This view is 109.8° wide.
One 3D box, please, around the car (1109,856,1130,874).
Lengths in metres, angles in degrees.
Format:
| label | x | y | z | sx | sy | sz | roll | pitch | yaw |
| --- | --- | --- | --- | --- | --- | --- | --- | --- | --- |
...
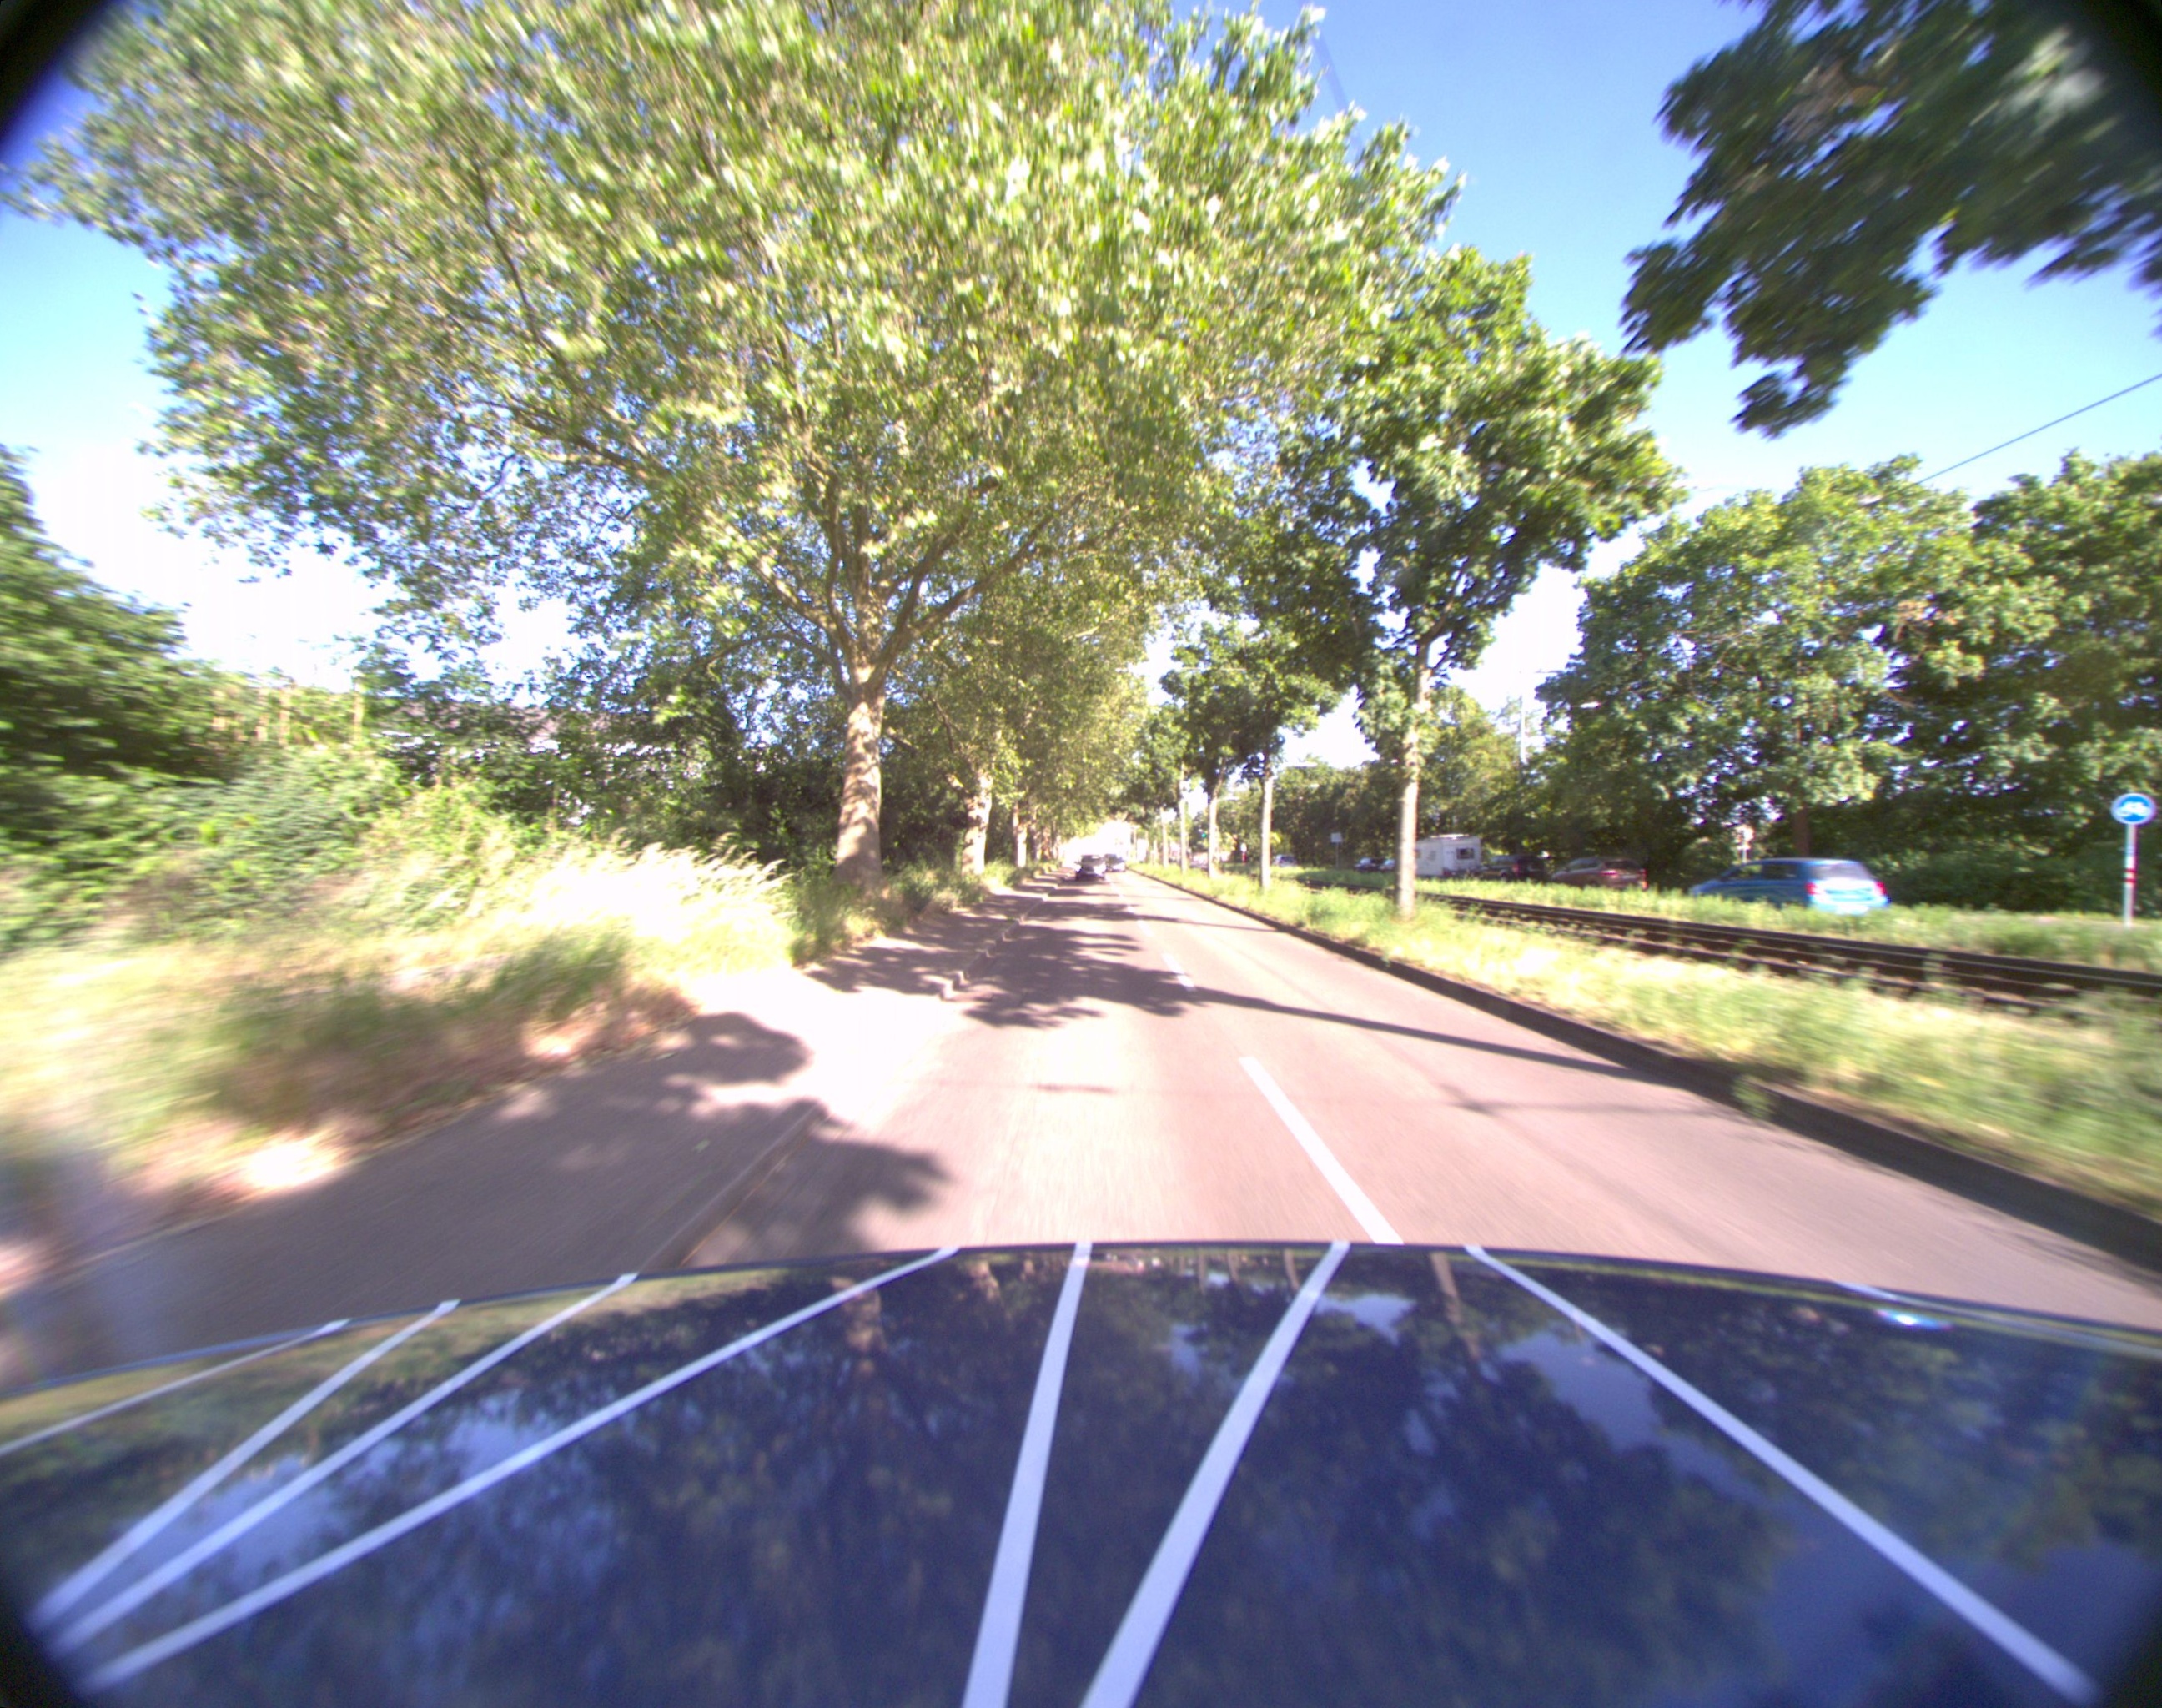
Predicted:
| label | x | y | z | sx | sy | sz | roll | pitch | yaw |
| --- | --- | --- | --- | --- | --- | --- | --- | --- | --- |
| car | 3.302 | 0.918 | 65.988 | 1.714 | 1.478 | 3.547 | -1 | 1 | 2 |

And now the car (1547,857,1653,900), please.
| label | x | y | z | sx | sy | sz | roll | pitch | yaw |
| --- | --- | --- | --- | --- | --- | --- | --- | --- | --- |
| car | 21.644 | 0.985 | 31.881 | 1.678 | 1.575 | 4.248 | -1 | 1 | 3 |

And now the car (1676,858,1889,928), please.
| label | x | y | z | sx | sy | sz | roll | pitch | yaw |
| --- | --- | --- | --- | --- | --- | --- | --- | --- | --- |
| car | 16.421 | 0.838 | 18.075 | 1.561 | 1.387 | 3.820 | -1 | 1 | 1 |

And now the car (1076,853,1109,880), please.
| label | x | y | z | sx | sy | sz | roll | pitch | yaw |
| --- | --- | --- | --- | --- | --- | --- | --- | --- | --- |
| car | 0.657 | 0.710 | 44.589 | 1.808 | 1.478 | 3.546 | -1 | 1 | 0 |

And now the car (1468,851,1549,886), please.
| label | x | y | z | sx | sy | sz | roll | pitch | yaw |
| --- | --- | --- | --- | --- | --- | --- | --- | --- | --- |
| car | 21.785 | 0.708 | 38.952 | 1.626 | 1.613 | 4.532 | -1 | 1 | 1 |

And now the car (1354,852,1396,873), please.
| label | x | y | z | sx | sy | sz | roll | pitch | yaw |
| --- | --- | --- | --- | --- | --- | --- | --- | --- | --- |
| car | 22.513 | 0.622 | 58.301 | 1.771 | 1.554 | 4.282 | -1 | 1 | 3 |

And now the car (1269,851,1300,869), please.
| label | x | y | z | sx | sy | sz | roll | pitch | yaw |
| --- | --- | --- | --- | --- | --- | --- | --- | --- | --- |
| car | 18.697 | 0.560 | 69.971 | 1.731 | 1.519 | 4.442 | -1 | 1 | 2 |

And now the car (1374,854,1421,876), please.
| label | x | y | z | sx | sy | sz | roll | pitch | yaw |
| --- | --- | --- | --- | --- | --- | --- | --- | --- | --- |
| car | 22.269 | 0.729 | 53.633 | 1.715 | 1.426 | 4.000 | -1 | 1 | 2 |

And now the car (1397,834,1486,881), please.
| label | x | y | z | sx | sy | sz | roll | pitch | yaw |
| --- | --- | --- | --- | --- | --- | --- | --- | --- | --- |
| car | 21.795 | 0.202 | 46.360 | 2.231 | 2.565 | 6.799 | -1 | 0 | 1 |
